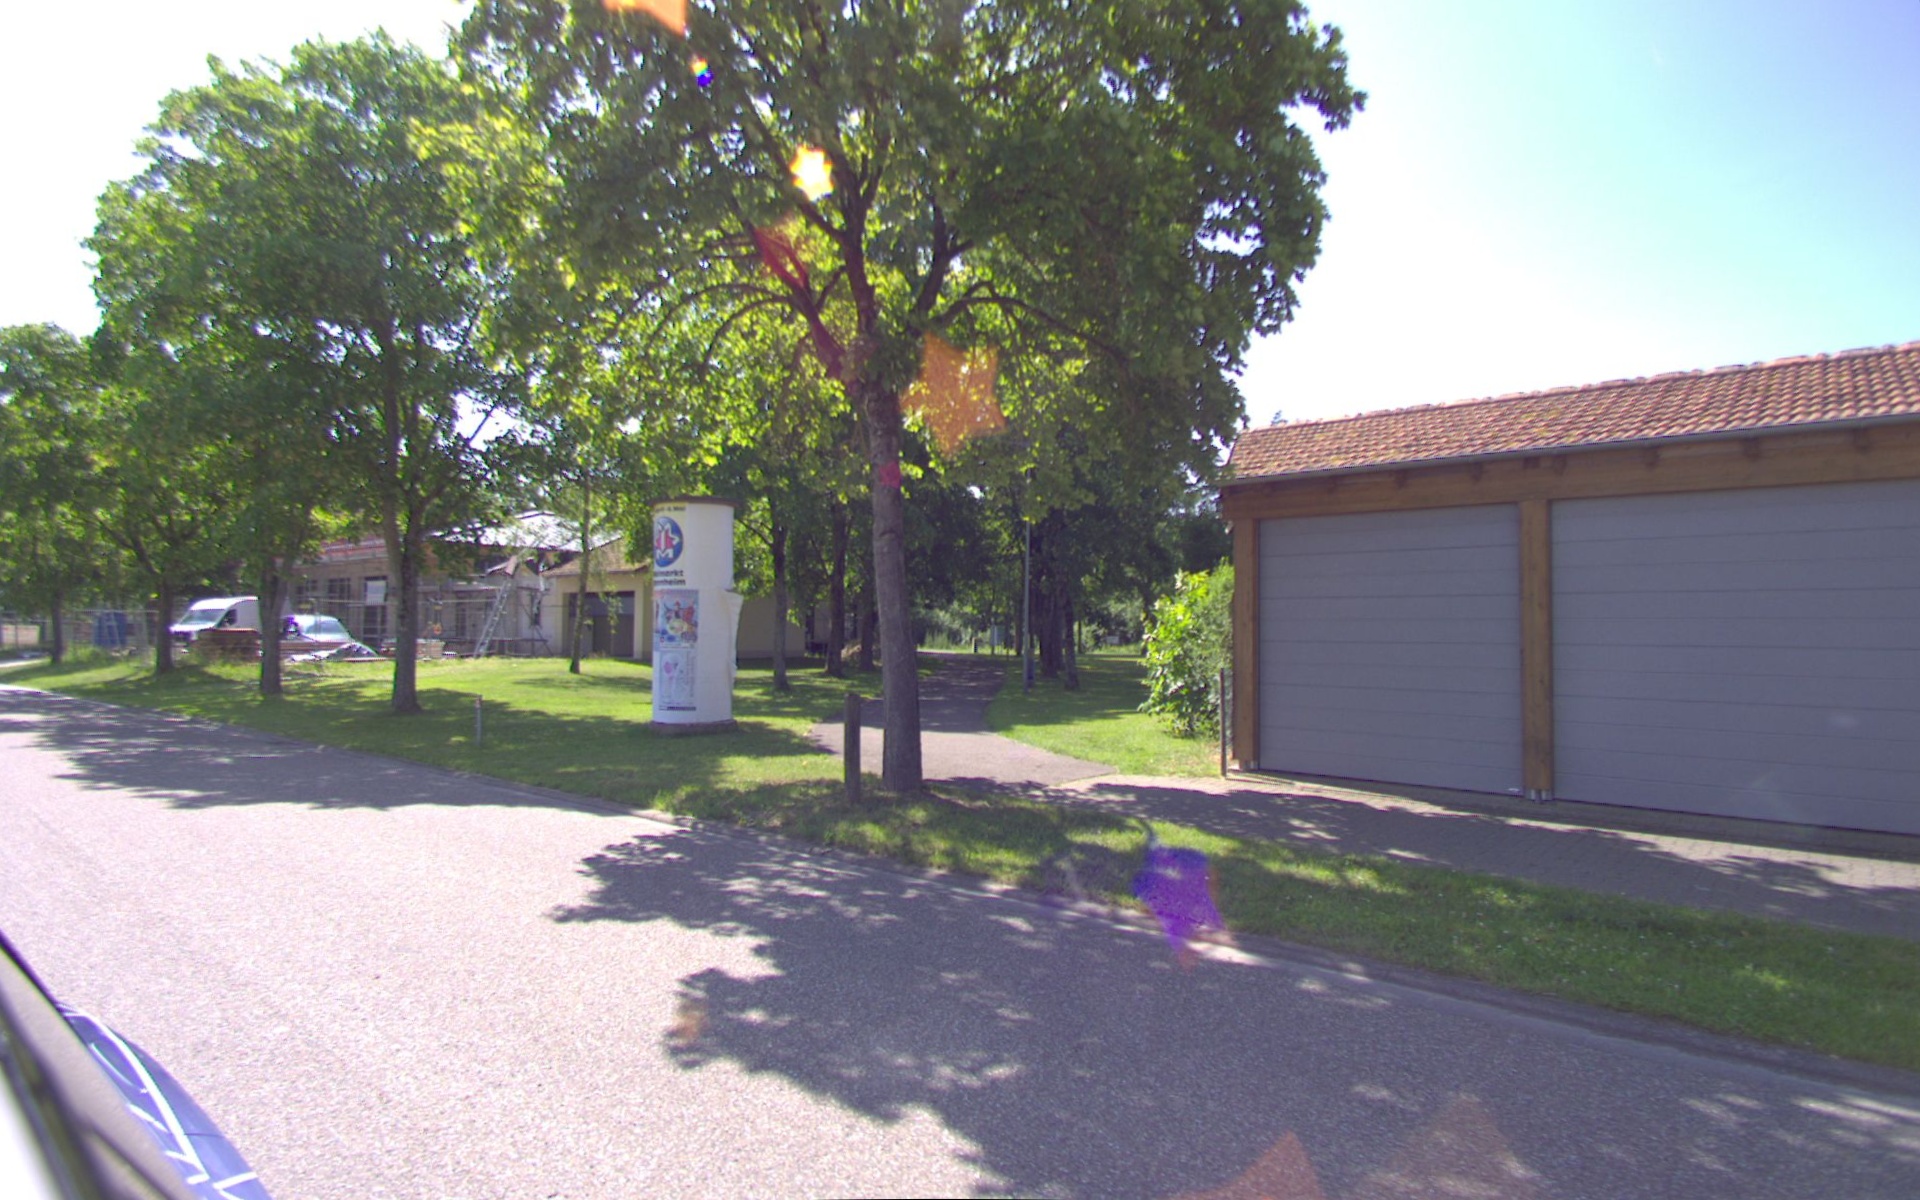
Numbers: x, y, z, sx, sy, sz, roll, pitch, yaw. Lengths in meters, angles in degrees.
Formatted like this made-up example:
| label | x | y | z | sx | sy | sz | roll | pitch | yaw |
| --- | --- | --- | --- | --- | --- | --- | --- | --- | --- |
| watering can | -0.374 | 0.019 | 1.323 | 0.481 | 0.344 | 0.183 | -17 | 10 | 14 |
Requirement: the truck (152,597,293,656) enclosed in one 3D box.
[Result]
| label | x | y | z | sx | sy | sz | roll | pitch | yaw |
| --- | --- | --- | --- | --- | --- | --- | --- | --- | --- |
| truck | -33.826 | 1.230 | 46.684 | 1.973 | 2.502 | 5.927 | 0 | -2 | 2 |

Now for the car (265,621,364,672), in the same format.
| label | x | y | z | sx | sy | sz | roll | pitch | yaw |
| --- | --- | --- | --- | --- | --- | --- | --- | --- | --- |
| car | -25.042 | 1.767 | 39.193 | 4.323 | 1.852 | 1.951 | -2 | -2 | 39 |
